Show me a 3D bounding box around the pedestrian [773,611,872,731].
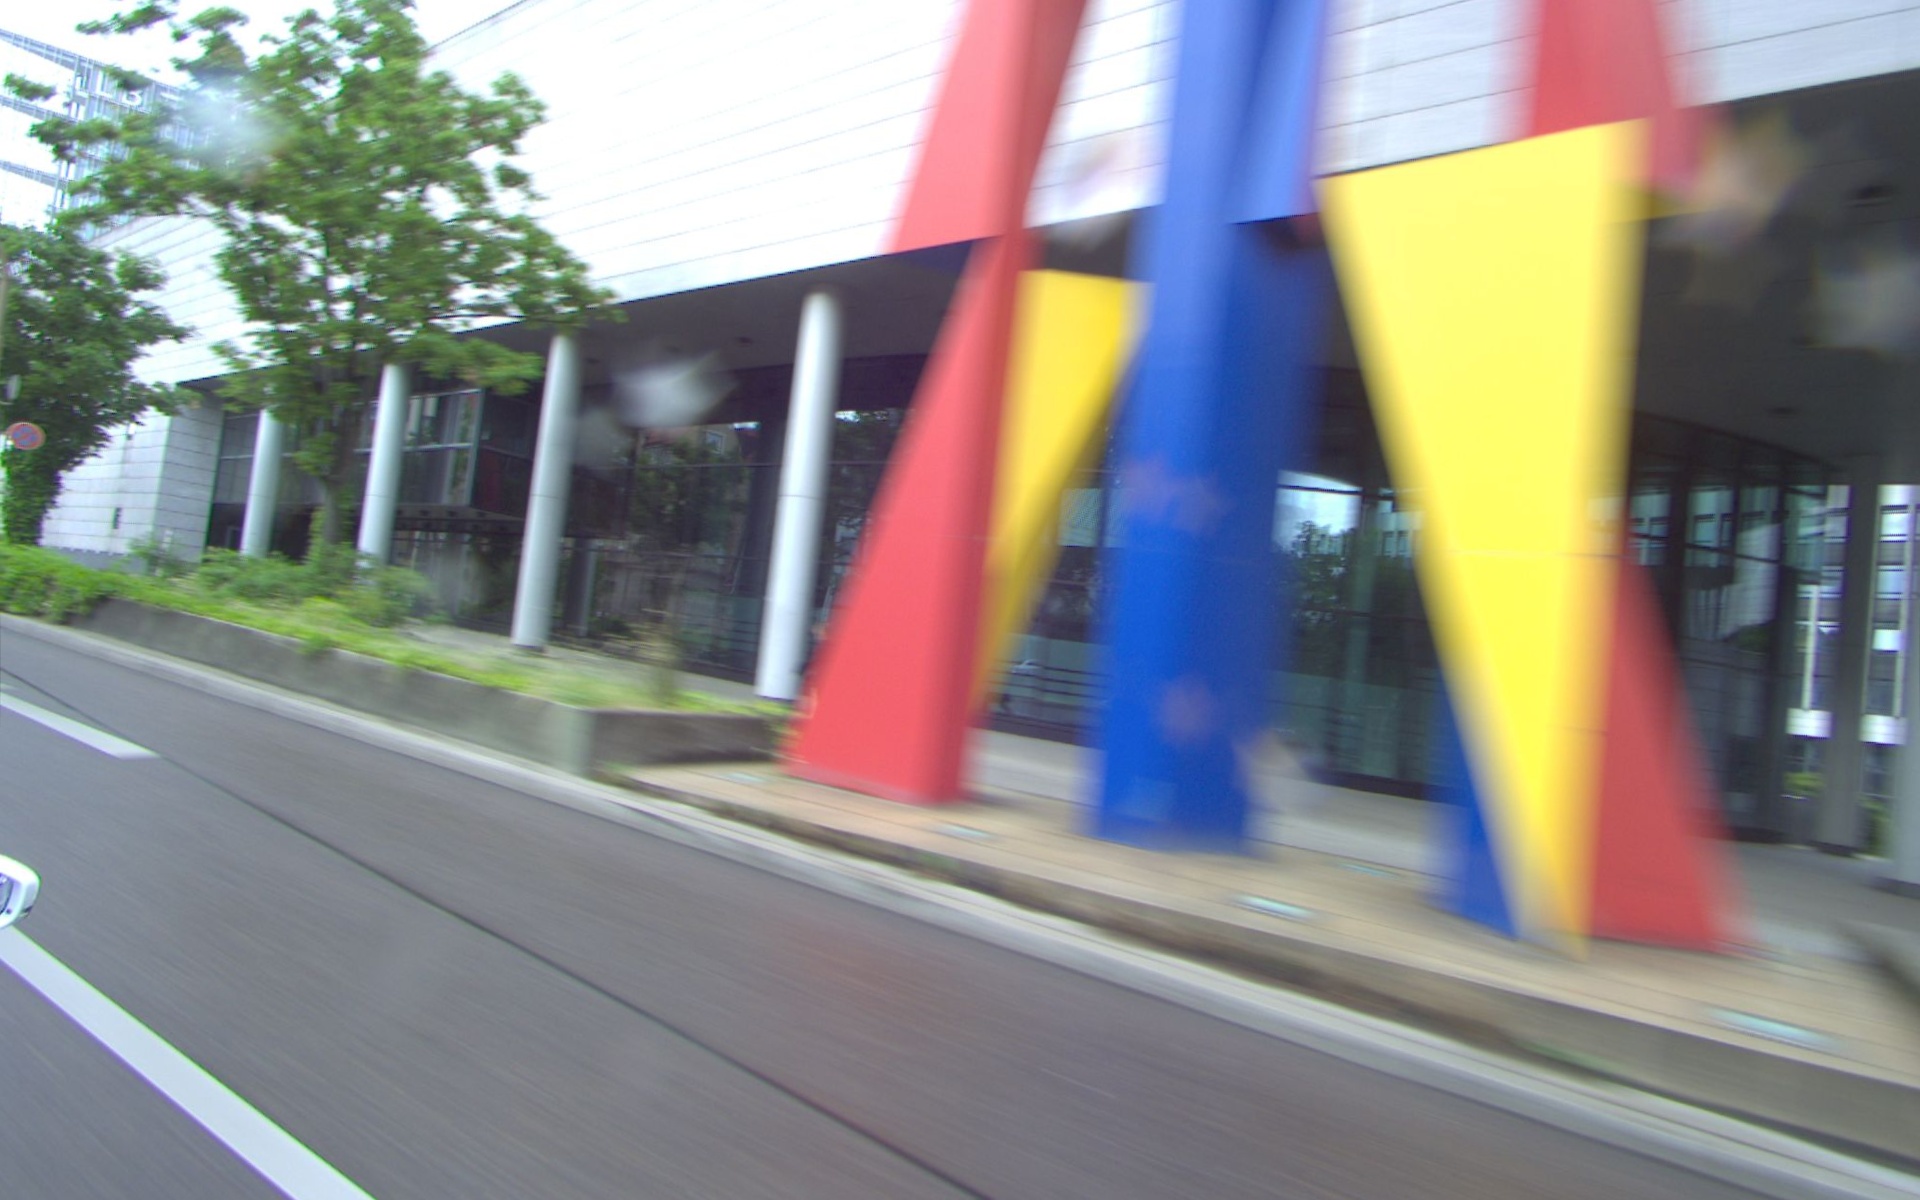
[{"bbox_3d":[-2.005,1.042,14.732,0.828,1.605,0.972,7,-1,31],"label":"pedestrian"}]

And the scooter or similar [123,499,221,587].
[{"bbox_3d":[-16.105,-1.151,20.589,0.495,1.547,1.325,7,-3,37],"label":"scooter or similar"}]
